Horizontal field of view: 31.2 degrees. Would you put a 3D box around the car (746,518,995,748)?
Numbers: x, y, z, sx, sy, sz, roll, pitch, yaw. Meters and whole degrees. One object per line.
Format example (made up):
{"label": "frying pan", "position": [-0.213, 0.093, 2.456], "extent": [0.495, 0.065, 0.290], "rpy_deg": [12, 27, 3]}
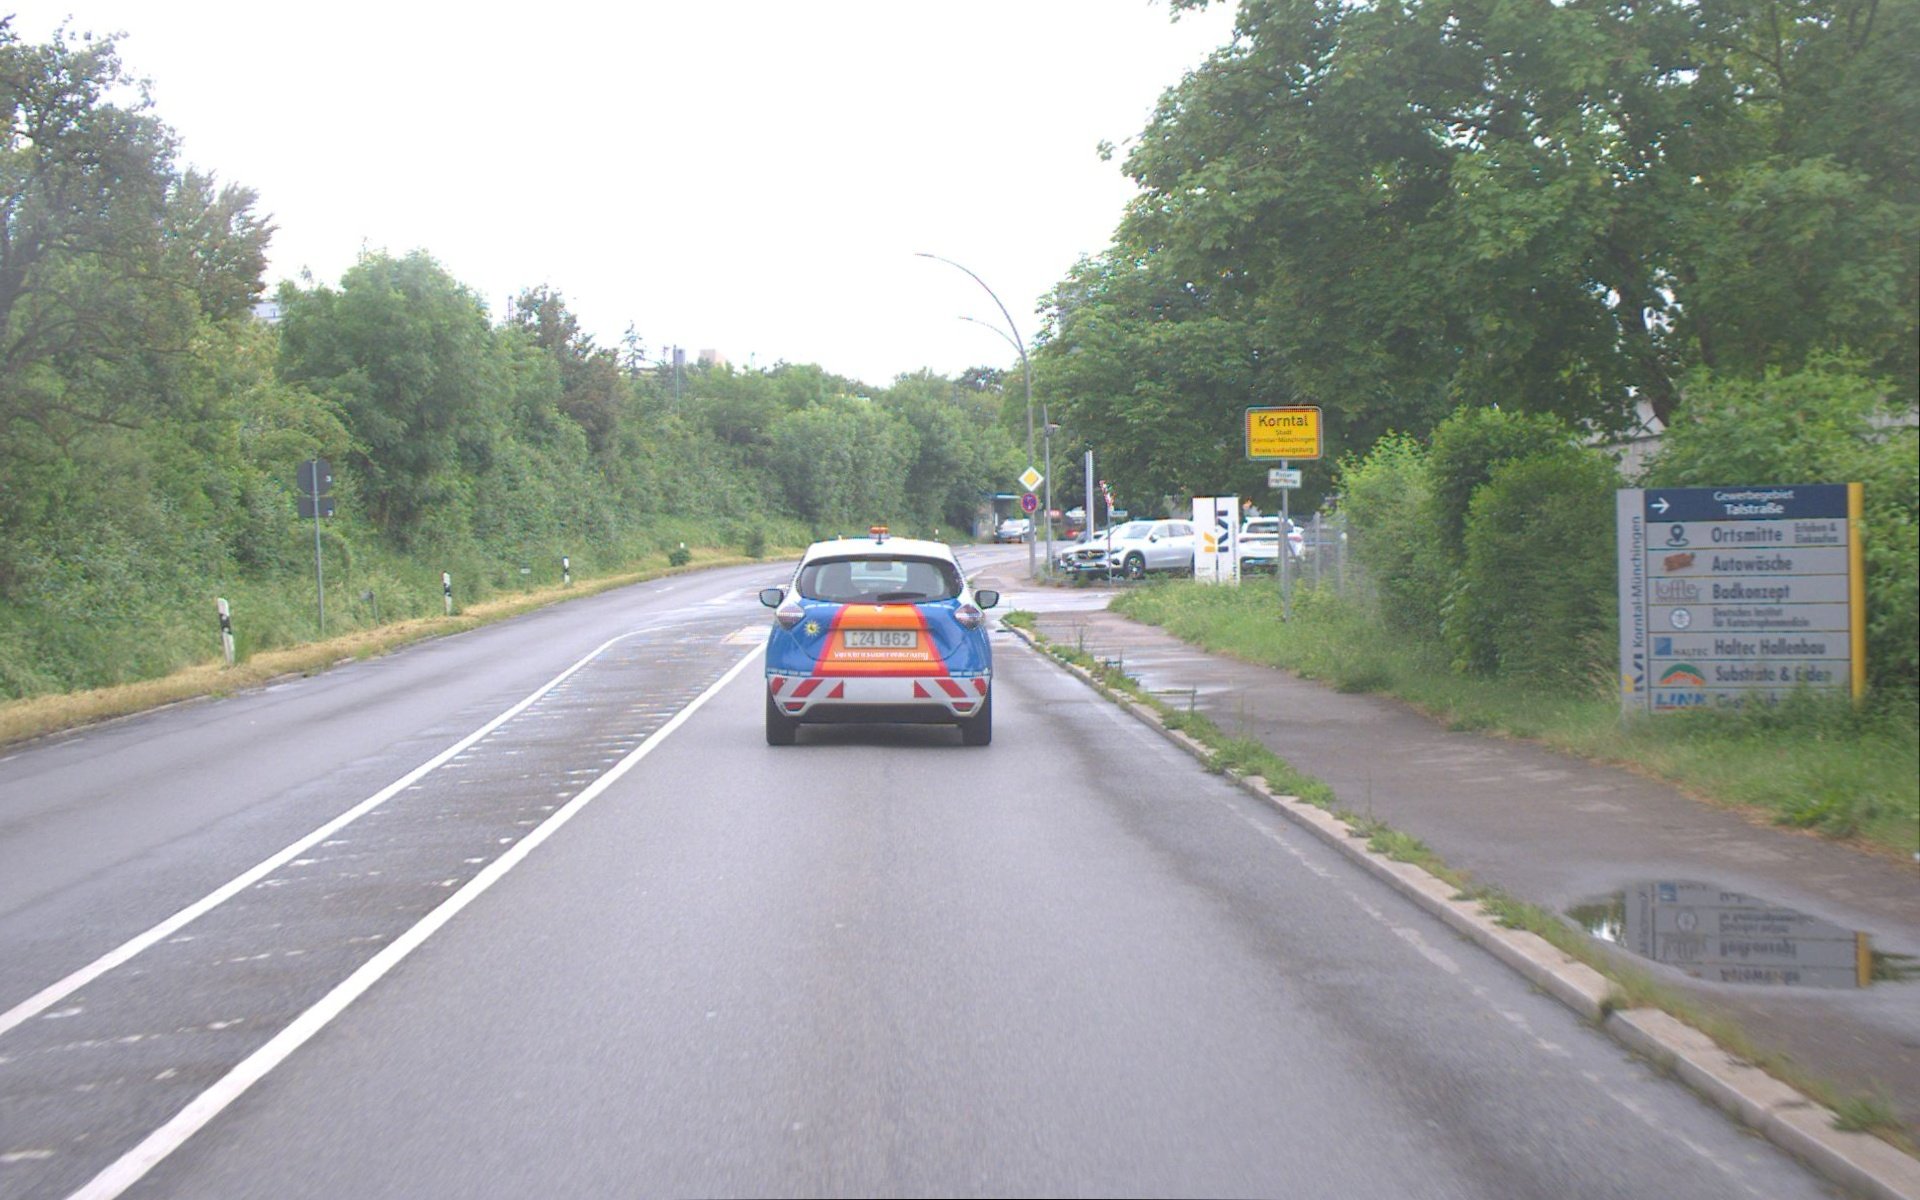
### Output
{"label": "car", "position": [-0.708, 0.220, 27.168], "extent": [1.805, 1.662, 3.856], "rpy_deg": [1, 1, -1]}

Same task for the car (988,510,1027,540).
{"label": "car", "position": [2.904, -4.559, 208.773], "extent": [1.695, 1.784, 3.854], "rpy_deg": [1, 1, 11]}

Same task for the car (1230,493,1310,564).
{"label": "car", "position": [8.267, -1.900, 91.975], "extent": [1.826, 1.823, 4.264], "rpy_deg": [1, 1, 1]}

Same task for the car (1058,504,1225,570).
{"label": "car", "position": [5.037, -1.729, 94.979], "extent": [2.034, 1.745, 4.606], "rpy_deg": [1, 1, 44]}

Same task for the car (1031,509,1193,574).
{"label": "car", "position": [4.359, -1.657, 97.980], "extent": [2.034, 1.745, 4.606], "rpy_deg": [-1, -1, 44]}

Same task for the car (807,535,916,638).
{"label": "car", "position": [-1.605, -0.237, 55.855], "extent": [1.694, 1.590, 3.856], "rpy_deg": [1, 1, -2]}

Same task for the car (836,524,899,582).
{"label": "car", "position": [-2.927, -1.484, 109.228], "extent": [1.694, 1.784, 3.855], "rpy_deg": [1, 1, 3]}
